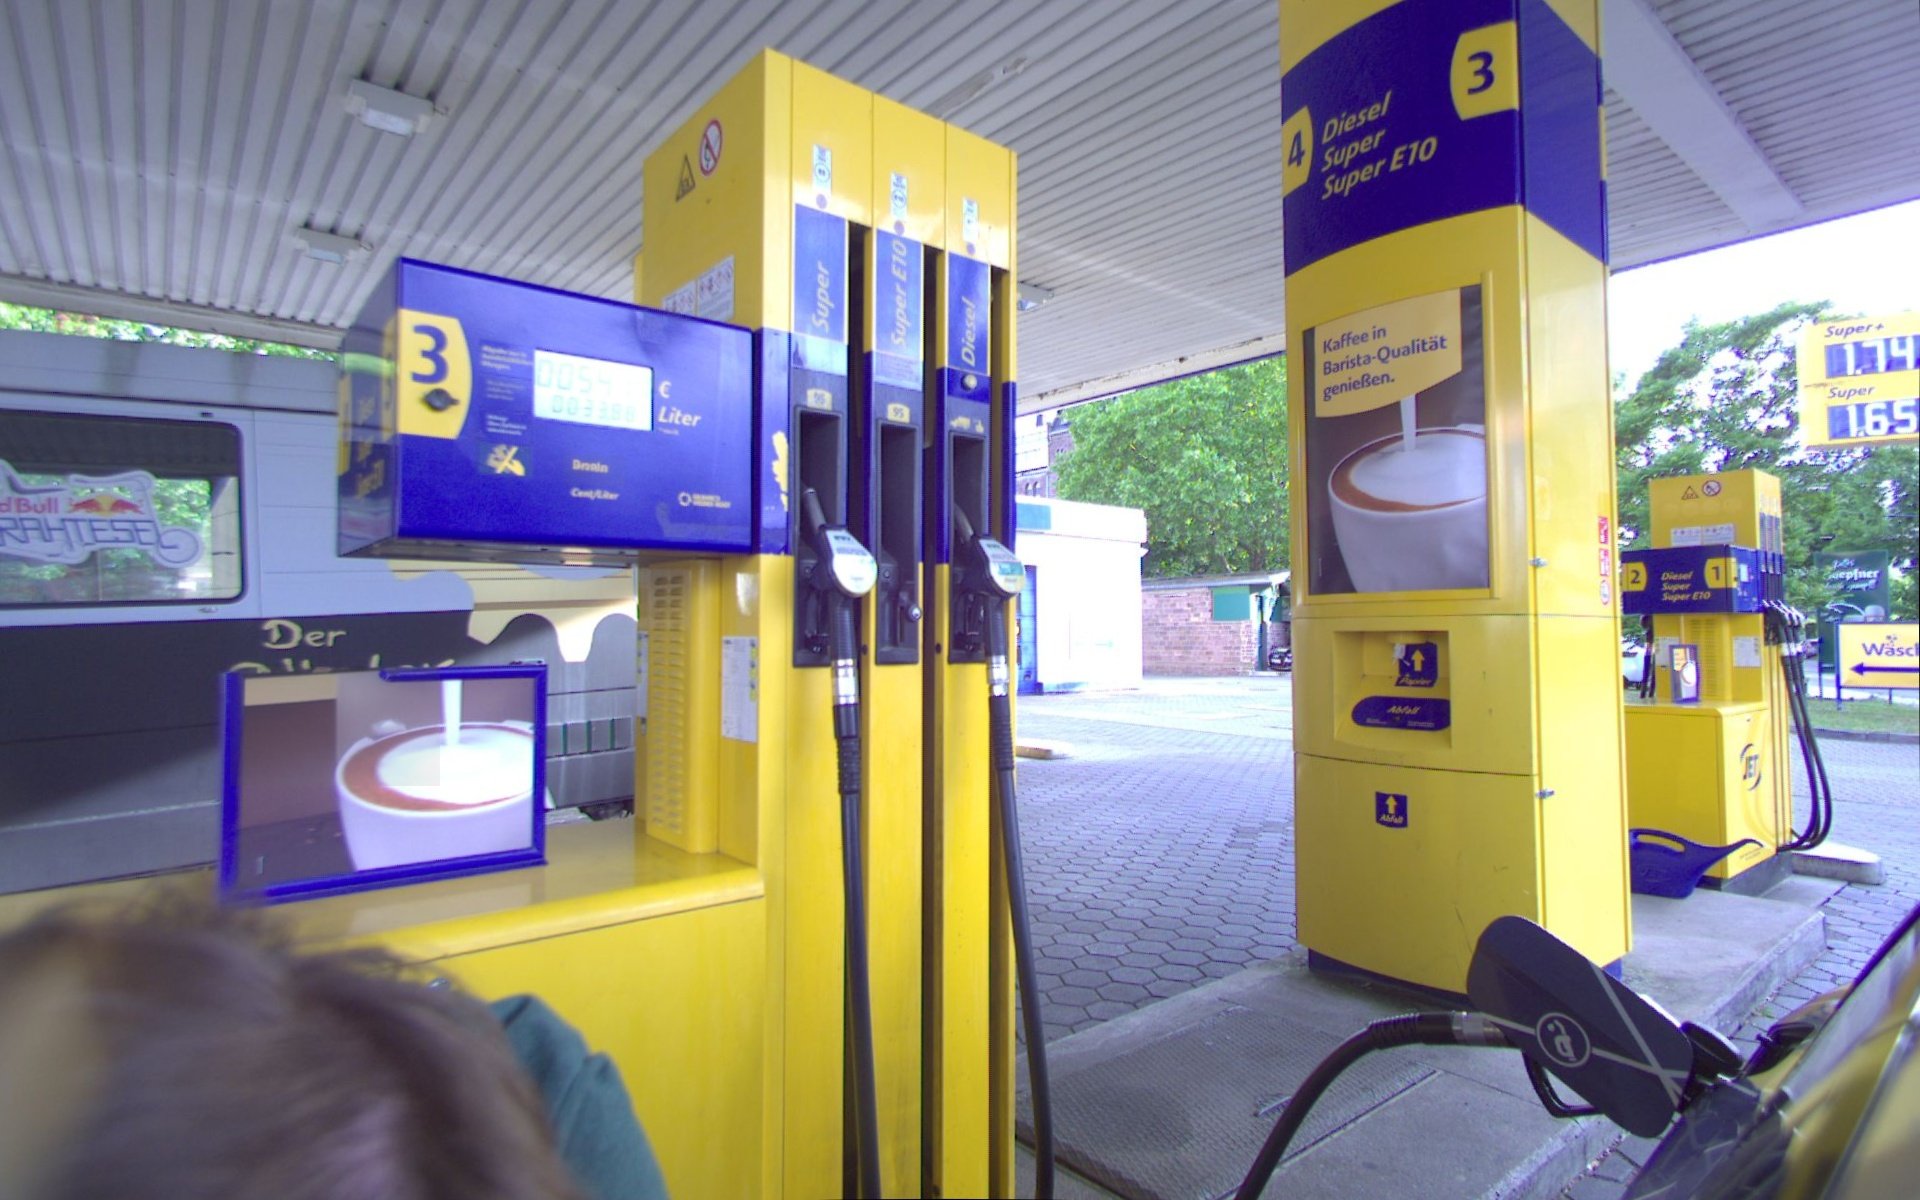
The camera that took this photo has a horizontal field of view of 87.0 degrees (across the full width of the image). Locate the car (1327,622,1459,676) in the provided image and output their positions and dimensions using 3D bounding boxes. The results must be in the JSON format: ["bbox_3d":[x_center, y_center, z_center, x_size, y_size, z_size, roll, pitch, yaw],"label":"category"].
[{"bbox_3d":[13.781,1.560,32.173,4.112,1.606,1.826,2,-3,-31],"label":"car"}]

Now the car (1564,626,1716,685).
[{"bbox_3d":[18.253,1.480,27.138,4.112,1.478,1.826,2,-3,-31],"label":"car"}]

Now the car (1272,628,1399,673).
[{"bbox_3d":[12.642,1.691,34.036,4.112,1.453,1.826,2,-3,-31],"label":"car"}]

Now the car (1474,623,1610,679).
[{"bbox_3d":[17.770,1.570,30.854,4.112,1.606,1.826,2,-3,-31],"label":"car"}]

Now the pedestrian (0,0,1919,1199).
[{"bbox_3d":[-0.332,0.522,0.569,0.975,1.750,1.182,-2,1,-36],"label":"pedestrian"}]

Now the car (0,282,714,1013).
[{"bbox_3d":[-4.099,0.187,4.859,5.248,2.760,2.201,0,-1,-39],"label":"car"}]
